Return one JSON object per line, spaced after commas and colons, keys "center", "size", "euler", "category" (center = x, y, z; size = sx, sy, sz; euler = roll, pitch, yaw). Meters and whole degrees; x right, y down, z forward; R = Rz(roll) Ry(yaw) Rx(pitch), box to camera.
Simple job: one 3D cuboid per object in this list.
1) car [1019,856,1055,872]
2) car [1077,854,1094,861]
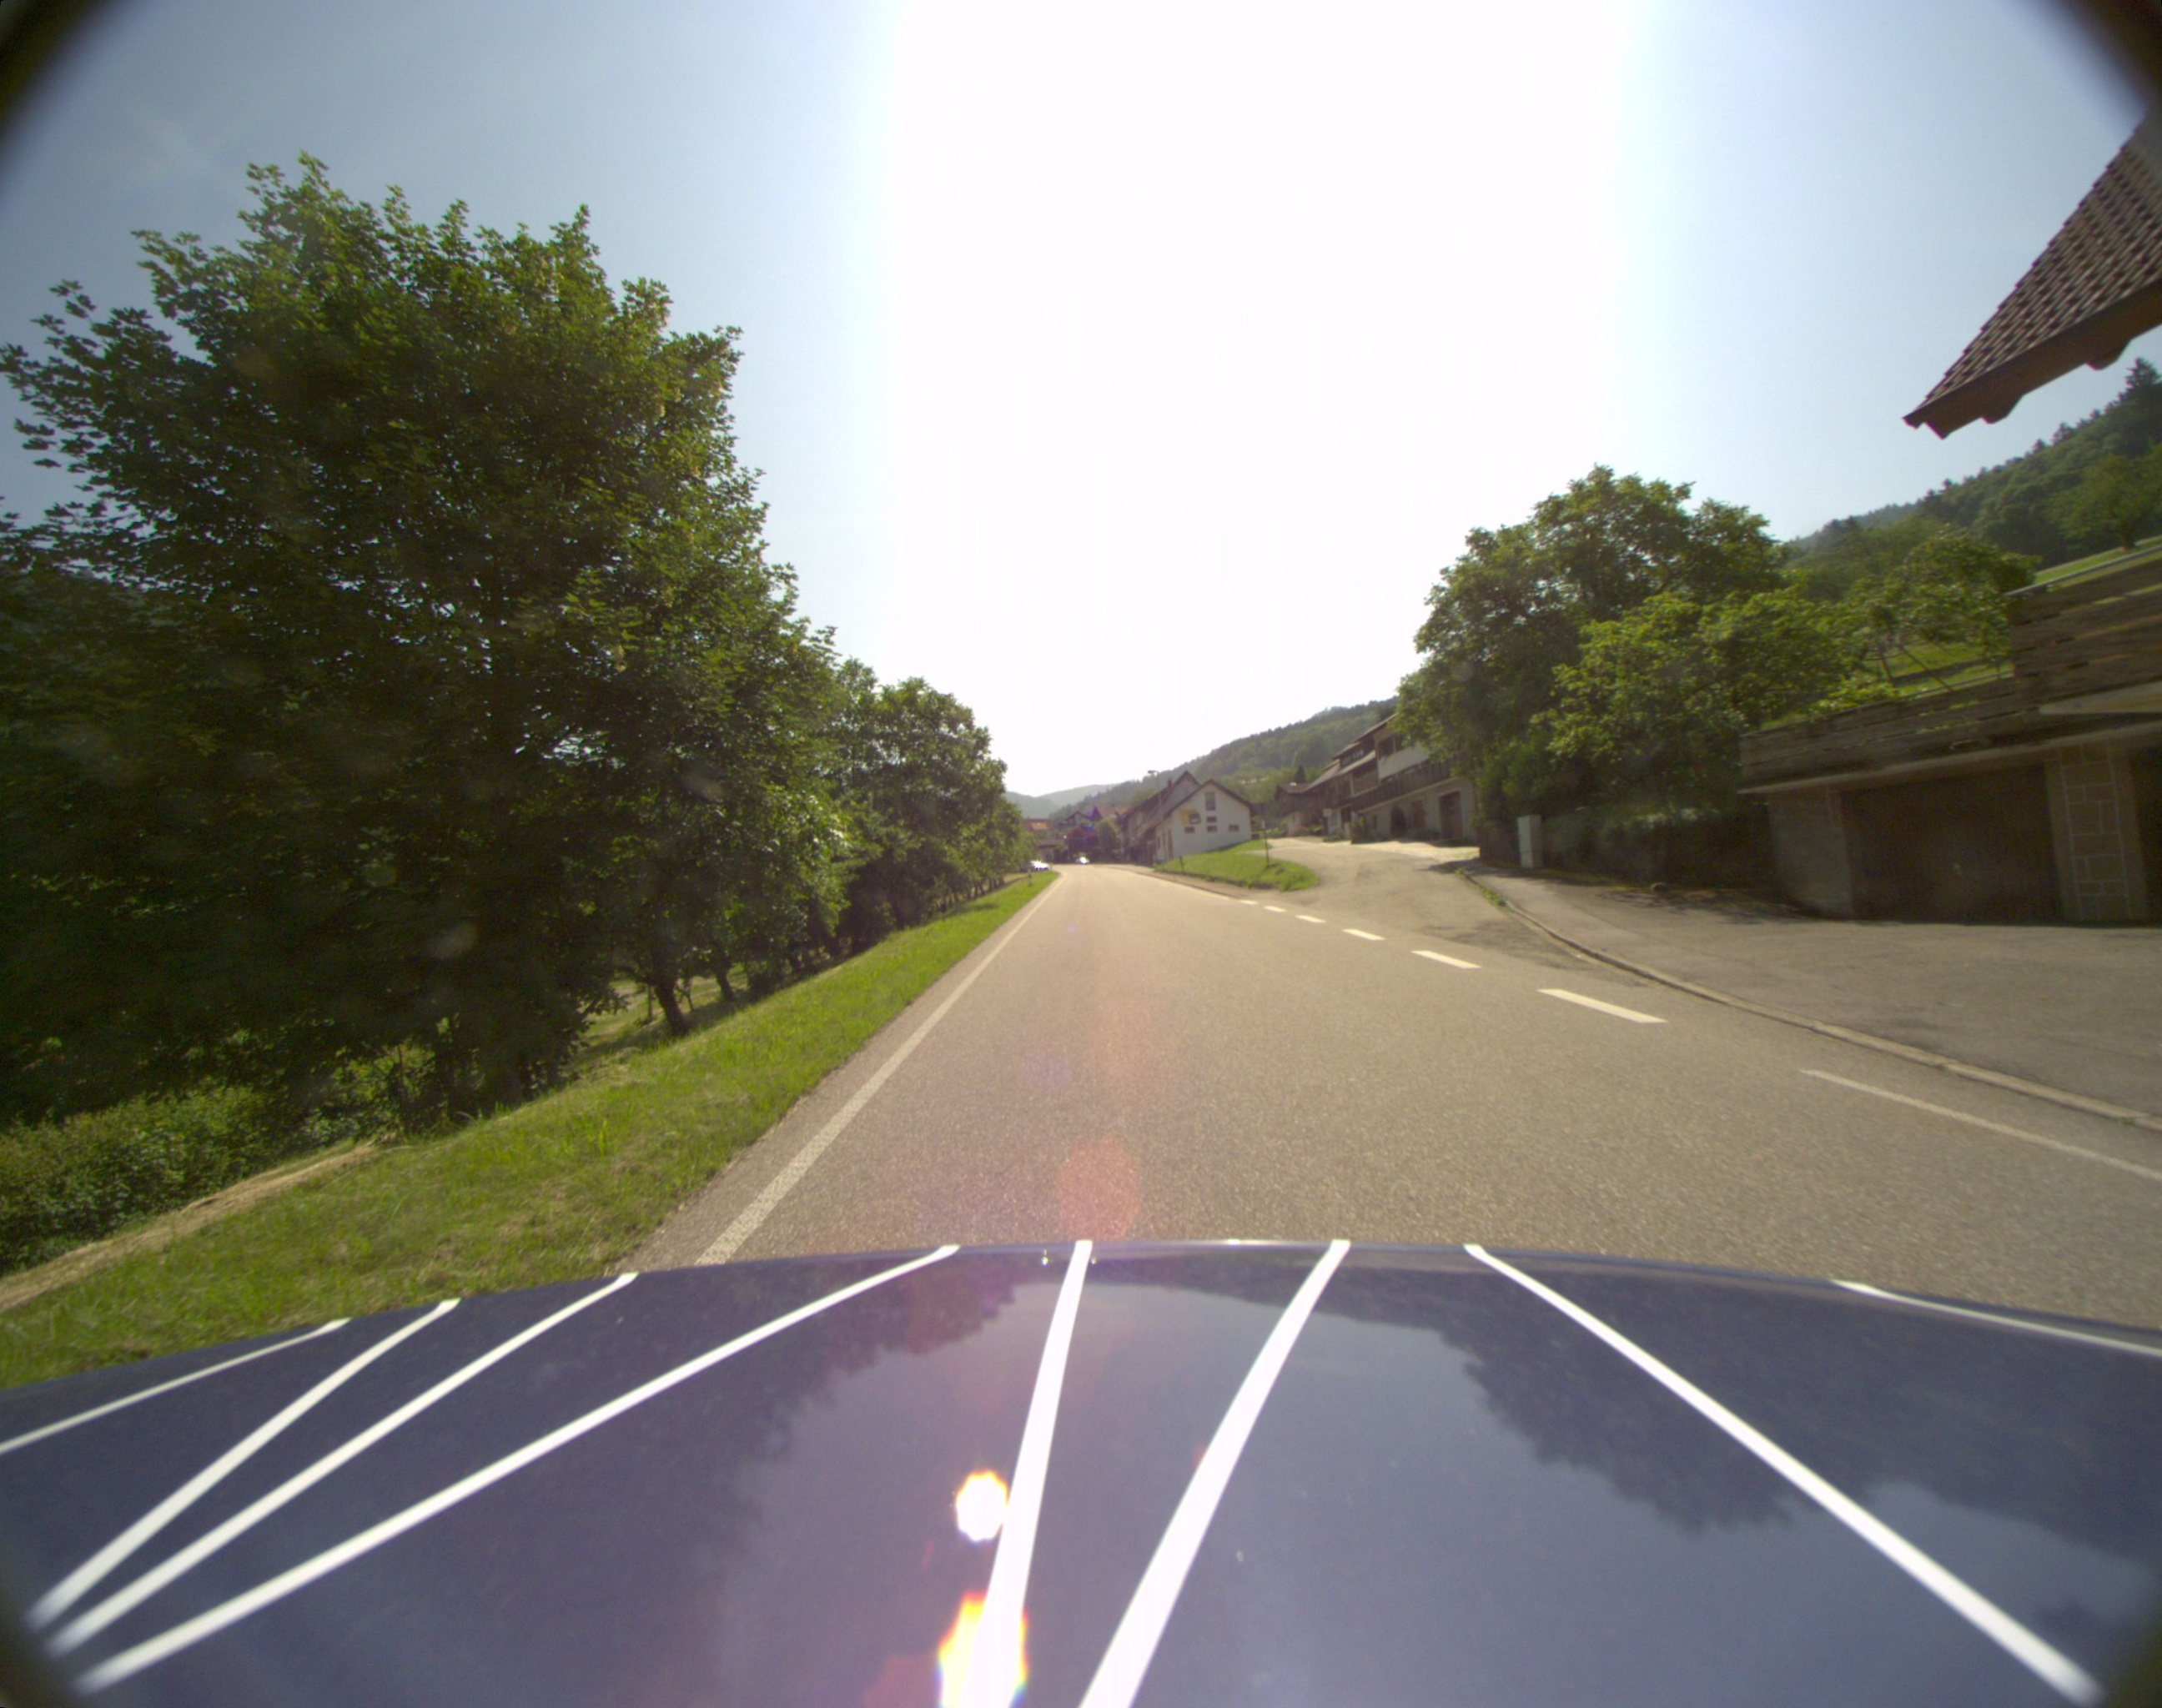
{"center": [-5.541, 1.235, 95.468], "size": [1.908, 1.562, 4.451], "euler": [-7, 0, -45], "category": "car"}
{"center": [0.774, 0.690, 144.600], "size": [1.789, 1.331, 4.689], "euler": [-3, 0, -18], "category": "car"}
